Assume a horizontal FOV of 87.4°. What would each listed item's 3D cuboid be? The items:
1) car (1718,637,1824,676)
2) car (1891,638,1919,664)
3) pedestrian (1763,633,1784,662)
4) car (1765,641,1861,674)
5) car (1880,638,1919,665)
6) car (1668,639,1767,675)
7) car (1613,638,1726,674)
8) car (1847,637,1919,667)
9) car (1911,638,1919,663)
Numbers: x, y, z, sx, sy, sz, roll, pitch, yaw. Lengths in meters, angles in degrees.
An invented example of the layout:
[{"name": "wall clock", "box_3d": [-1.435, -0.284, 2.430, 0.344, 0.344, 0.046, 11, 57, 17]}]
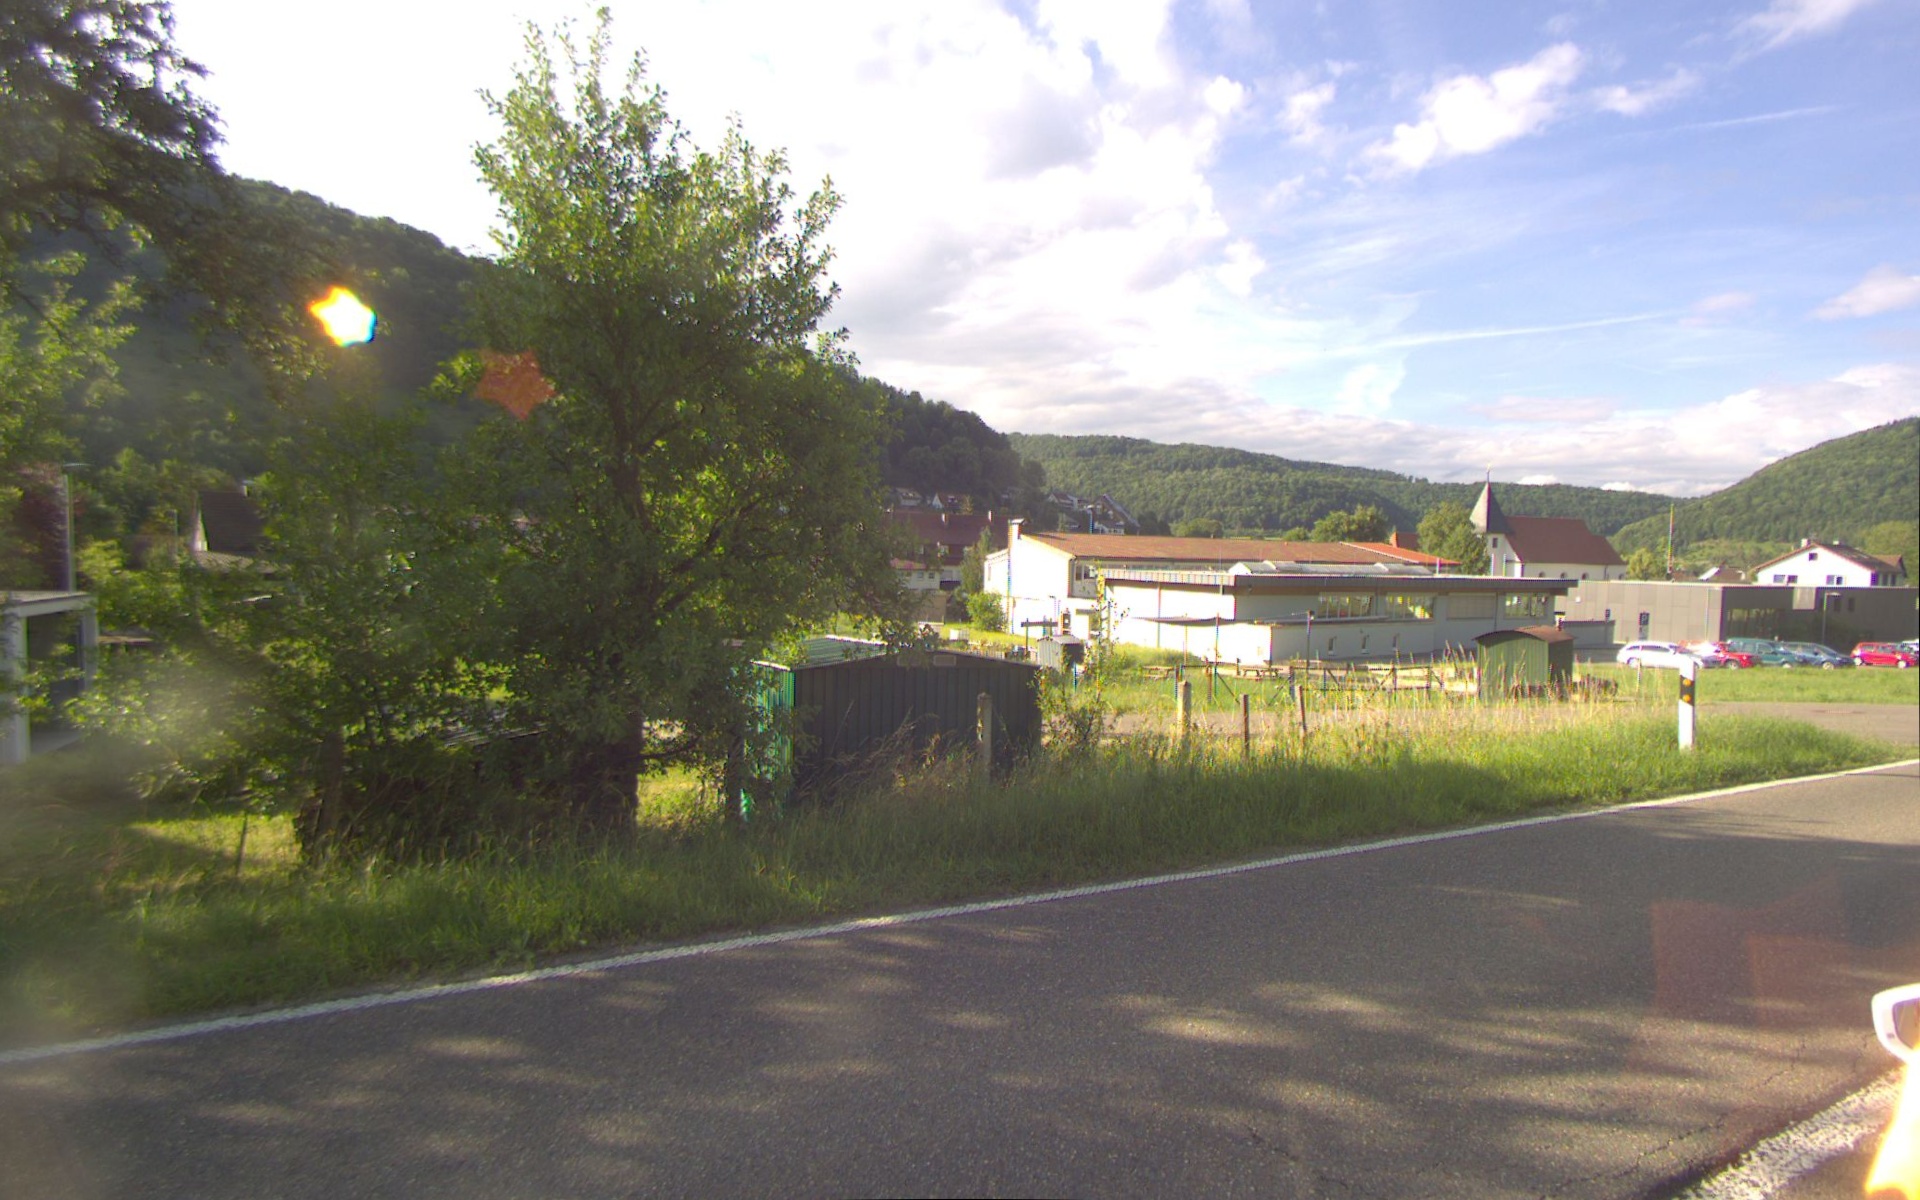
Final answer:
[{"name": "car", "box_3d": [47.301, 3.253, 58.665, 1.978, 2.034, 4.382, 2, 0, -32]}, {"name": "car", "box_3d": [67.329, 3.581, 69.402, 1.978, 1.733, 3.965, 2, 0, -32]}, {"name": "pedestrian", "box_3d": [56.794, 3.318, 70.158, 0.962, 2.040, 0.821, 2, 0, -30]}, {"name": "car", "box_3d": [51.354, 3.458, 60.521, 1.978, 1.733, 3.965, 2, 0, -32]}, {"name": "car", "box_3d": [64.450, 3.478, 67.145, 1.978, 1.733, 3.965, 2, 0, -32]}, {"name": "car", "box_3d": [42.208, 3.149, 56.015, 1.978, 1.733, 3.965, 2, 0, -32]}, {"name": "car", "box_3d": [39.106, 3.050, 55.487, 1.978, 1.733, 4.705, 2, 0, -32]}, {"name": "car", "box_3d": [60.439, 3.342, 65.116, 1.978, 1.733, 3.965, 2, 0, -32]}, {"name": "car", "box_3d": [70.170, 3.678, 70.967, 1.978, 1.733, 3.965, 2, 0, -32]}]
